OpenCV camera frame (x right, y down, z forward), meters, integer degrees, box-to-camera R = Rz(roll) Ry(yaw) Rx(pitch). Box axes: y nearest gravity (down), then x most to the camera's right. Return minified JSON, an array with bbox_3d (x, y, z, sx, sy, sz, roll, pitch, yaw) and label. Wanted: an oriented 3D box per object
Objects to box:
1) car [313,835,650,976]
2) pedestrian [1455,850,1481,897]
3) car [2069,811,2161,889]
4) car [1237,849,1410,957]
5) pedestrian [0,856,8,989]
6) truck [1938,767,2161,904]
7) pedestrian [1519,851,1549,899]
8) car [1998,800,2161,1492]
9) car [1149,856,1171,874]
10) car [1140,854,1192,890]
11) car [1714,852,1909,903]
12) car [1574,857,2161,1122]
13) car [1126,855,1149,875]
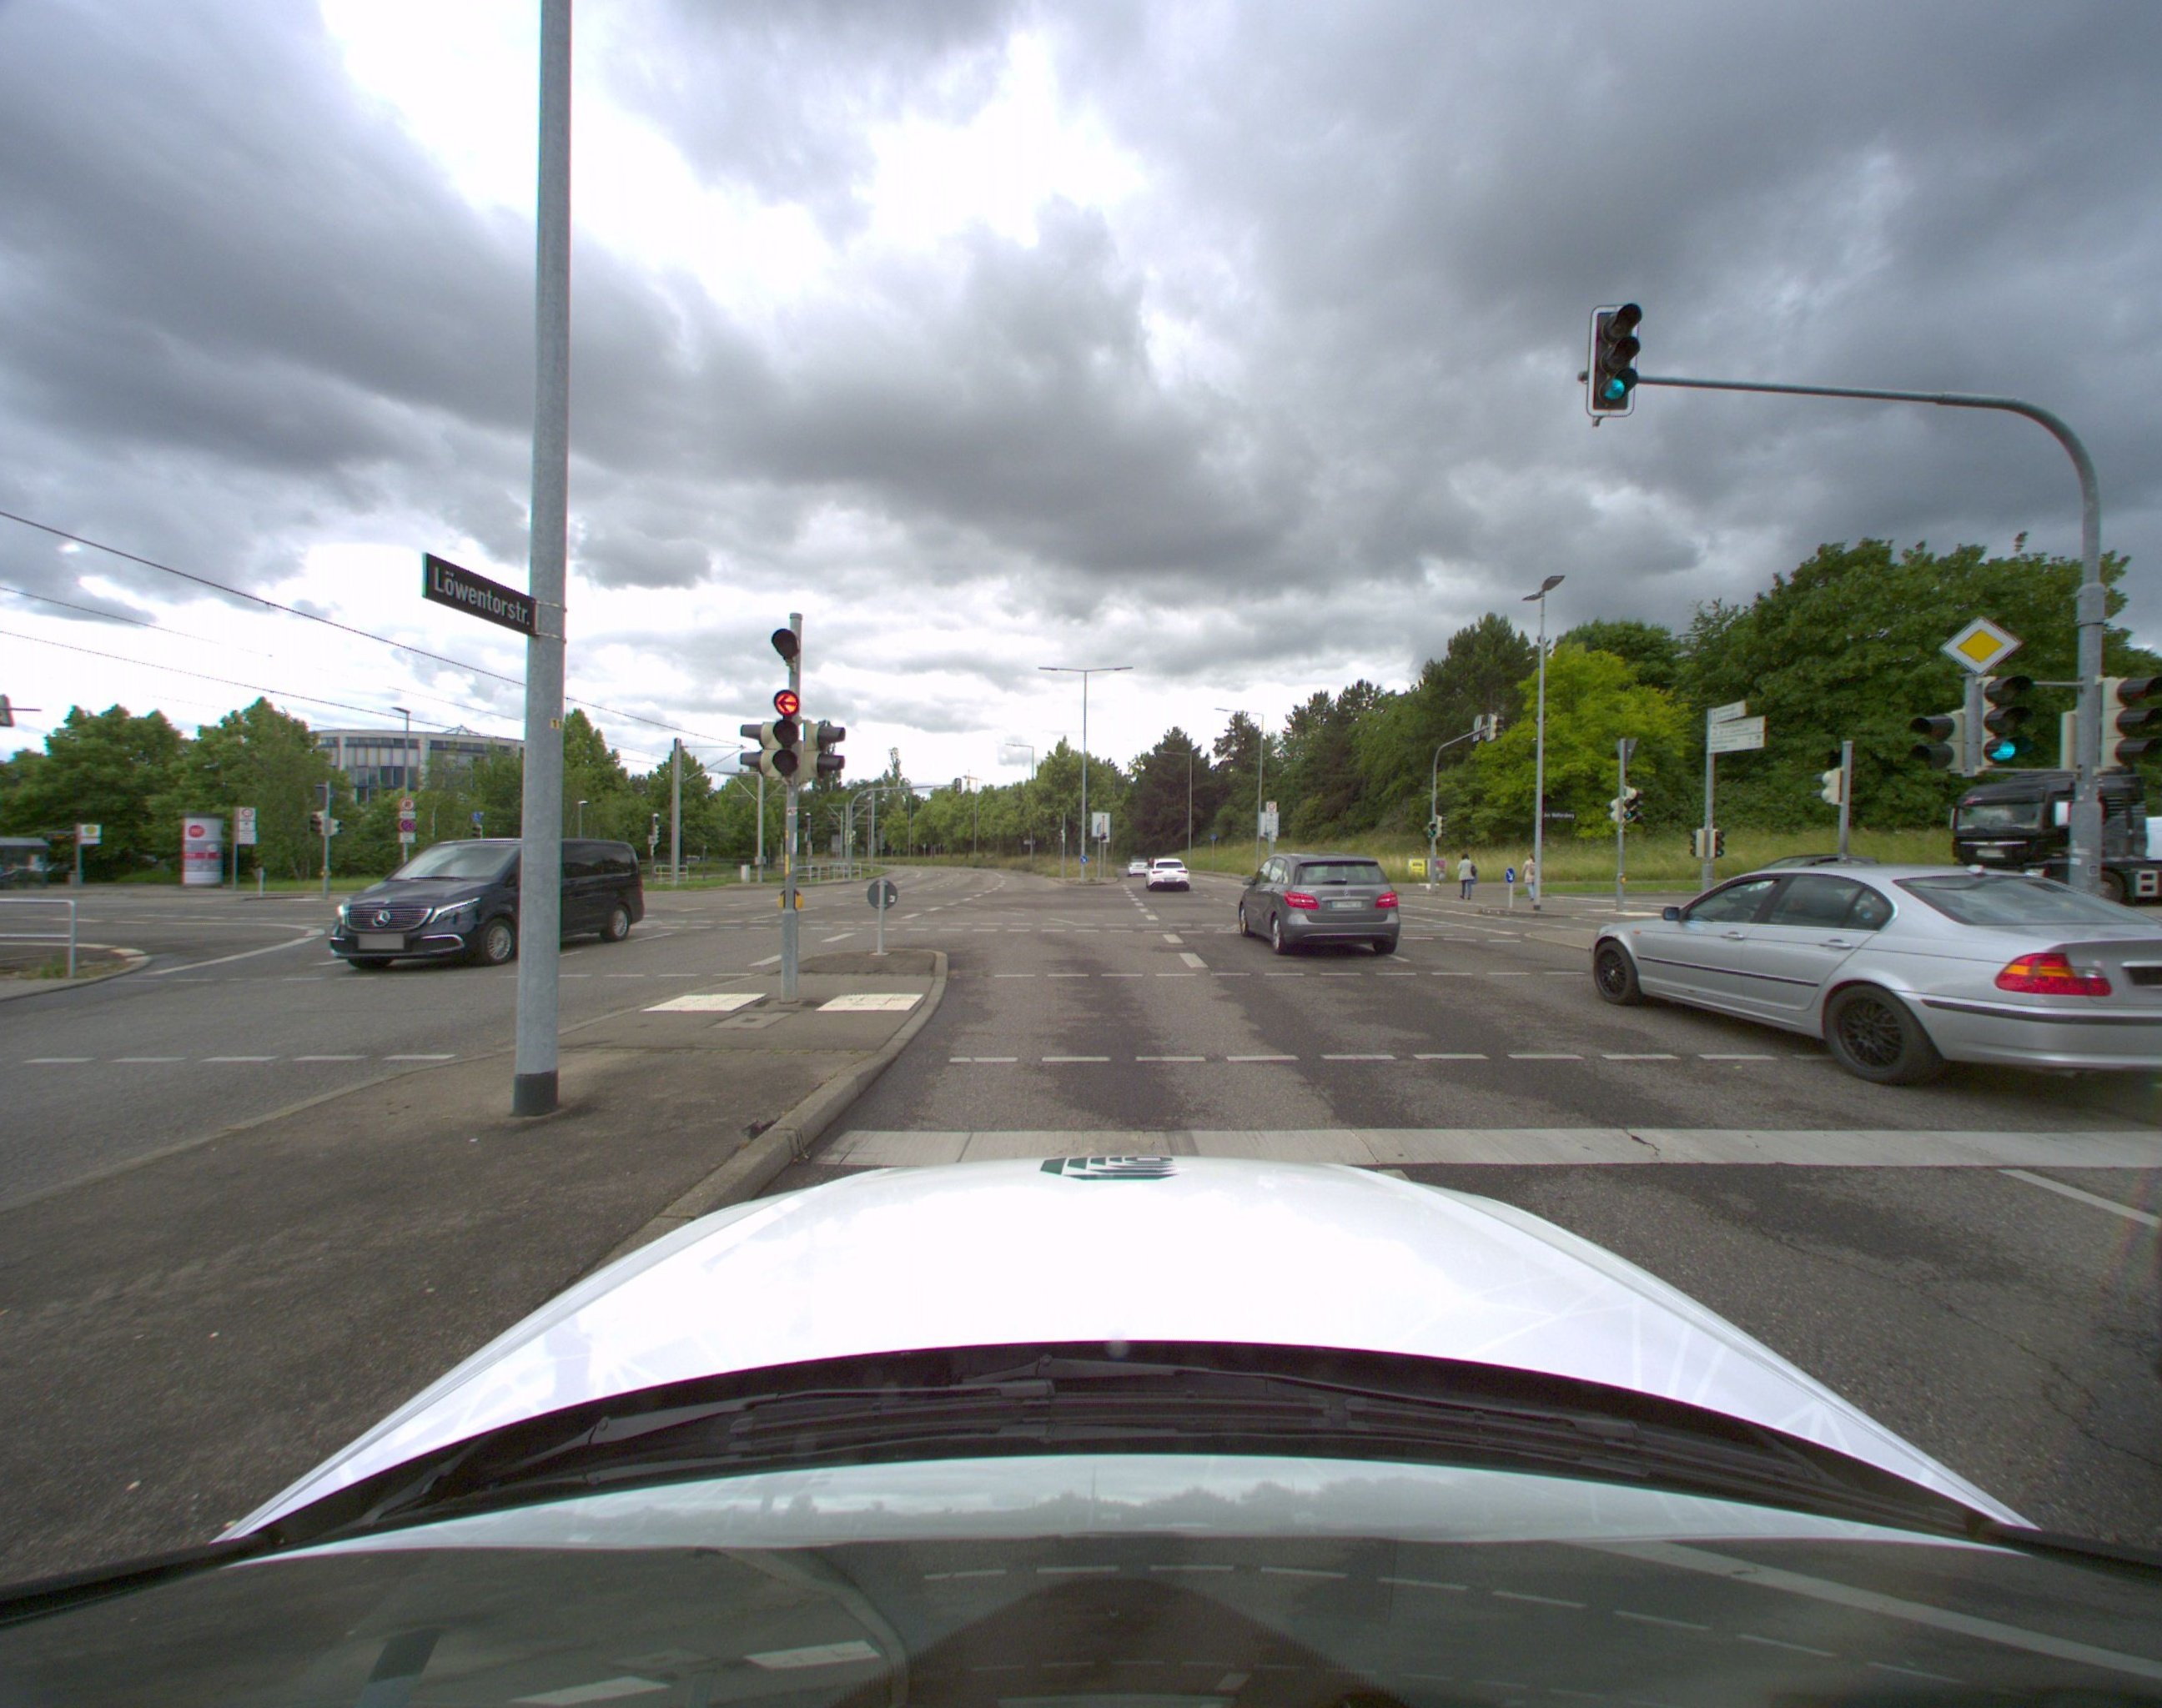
[{"bbox_3d":[-9.217,0.672,13.248,1.883,1.812,5.087,-1,0,-3],"label":"car"},{"bbox_3d":[13.698,0.689,28.866,0.640,1.662,0.715,0,-1,8],"label":"pedestrian"},{"bbox_3d":[38.438,-0.145,28.161,5.780,2.630,2.002,0,-1,3],"label":"car"},{"bbox_3d":[3.783,0.690,13.428,1.740,1.508,4.001,0,0,1],"label":"car"},{"bbox_3d":[-12.800,0.796,9.102,0.632,1.536,0.719,0,-1,-2],"label":"pedestrian"},{"bbox_3d":[27.985,-0.494,22.272,5.971,3.486,2.694,-1,-1,4],"label":"truck"},{"bbox_3d":[15.236,0.699,27.416,0.640,1.612,0.715,0,-1,7],"label":"pedestrian"},{"bbox_3d":[3.071,0.651,0.139,1.618,1.493,3.840,0,1,2],"label":"car"},{"bbox_3d":[6.768,0.914,69.758,1.607,1.453,3.883,0,-1,2],"label":"car"},{"bbox_3d":[3.810,0.802,37.158,1.838,1.506,4.529,0,-1,0],"label":"car"},{"bbox_3d":[20.316,0.638,22.782,3.859,1.338,1.698,0,-1,4],"label":"car"},{"bbox_3d":[6.068,0.737,6.530,1.740,1.382,4.292,0,0,2],"label":"car"},{"bbox_3d":[4.253,0.835,61.700,1.586,1.516,2.767,0,-1,1],"label":"car"}]
